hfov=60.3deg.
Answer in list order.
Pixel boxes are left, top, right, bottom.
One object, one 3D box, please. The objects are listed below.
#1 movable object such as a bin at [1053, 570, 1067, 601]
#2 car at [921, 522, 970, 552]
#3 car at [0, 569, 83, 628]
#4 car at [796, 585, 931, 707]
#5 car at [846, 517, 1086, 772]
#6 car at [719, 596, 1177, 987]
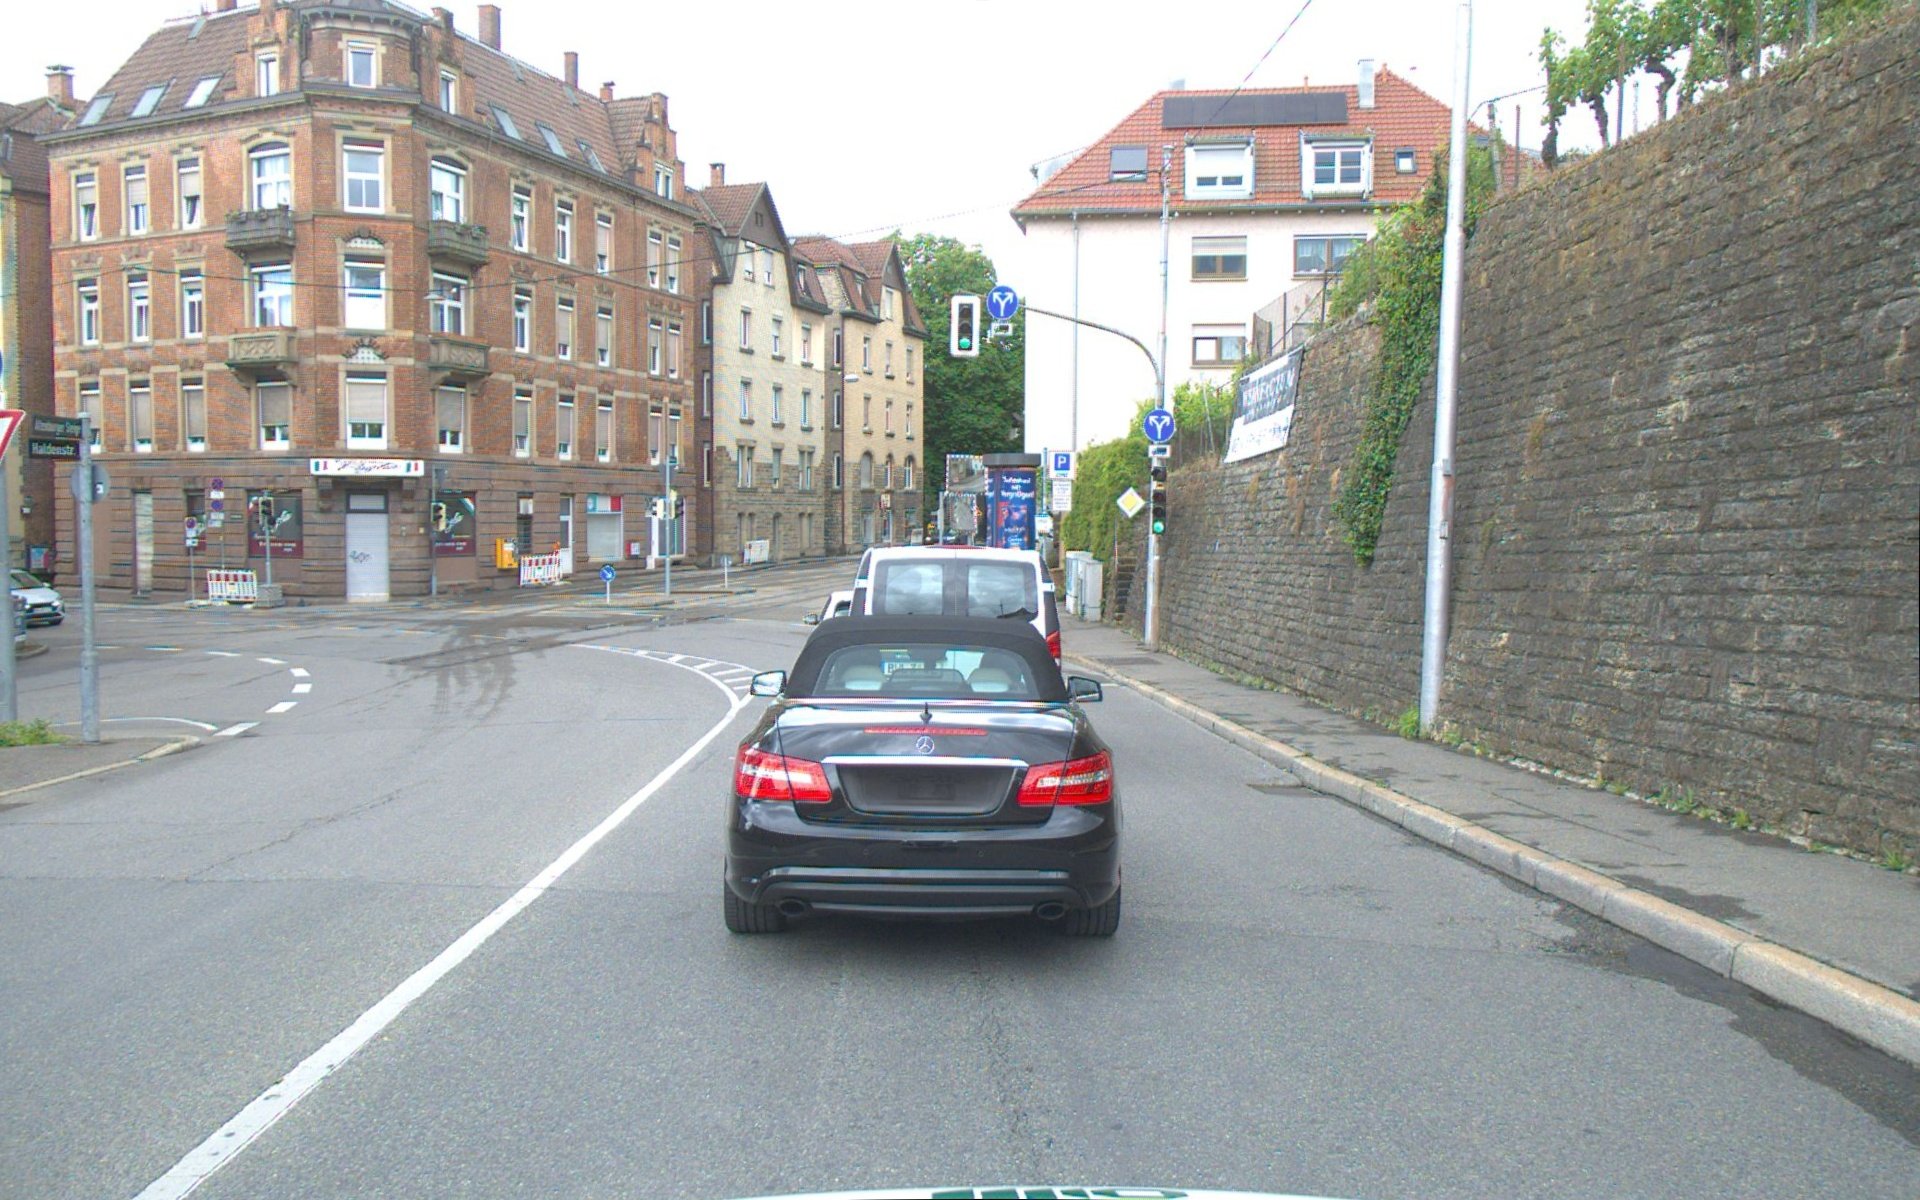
[{"bbox_3d":[3.012,-0.432,49.821,0.337,0.927,0.494,0,1,-6],"label":"movable object such as a bin"},{"bbox_3d":[-0.796,-3.609,94.215,1.951,1.541,4.291,0,4,11],"label":"car"},{"bbox_3d":[-25.475,-0.076,44.332,3.560,1.493,1.673,2,0,26],"label":"car"},{"bbox_3d":[-1.250,0.561,22.760,1.647,1.491,3.918,1,1,-1],"label":"car"},{"bbox_3d":[0.013,0.330,15.342,1.853,1.962,4.644,1,0,-1],"label":"car"},{"bbox_3d":[-0.075,0.731,8.543,1.726,1.434,4.398,1,1,-1],"label":"car"}]
